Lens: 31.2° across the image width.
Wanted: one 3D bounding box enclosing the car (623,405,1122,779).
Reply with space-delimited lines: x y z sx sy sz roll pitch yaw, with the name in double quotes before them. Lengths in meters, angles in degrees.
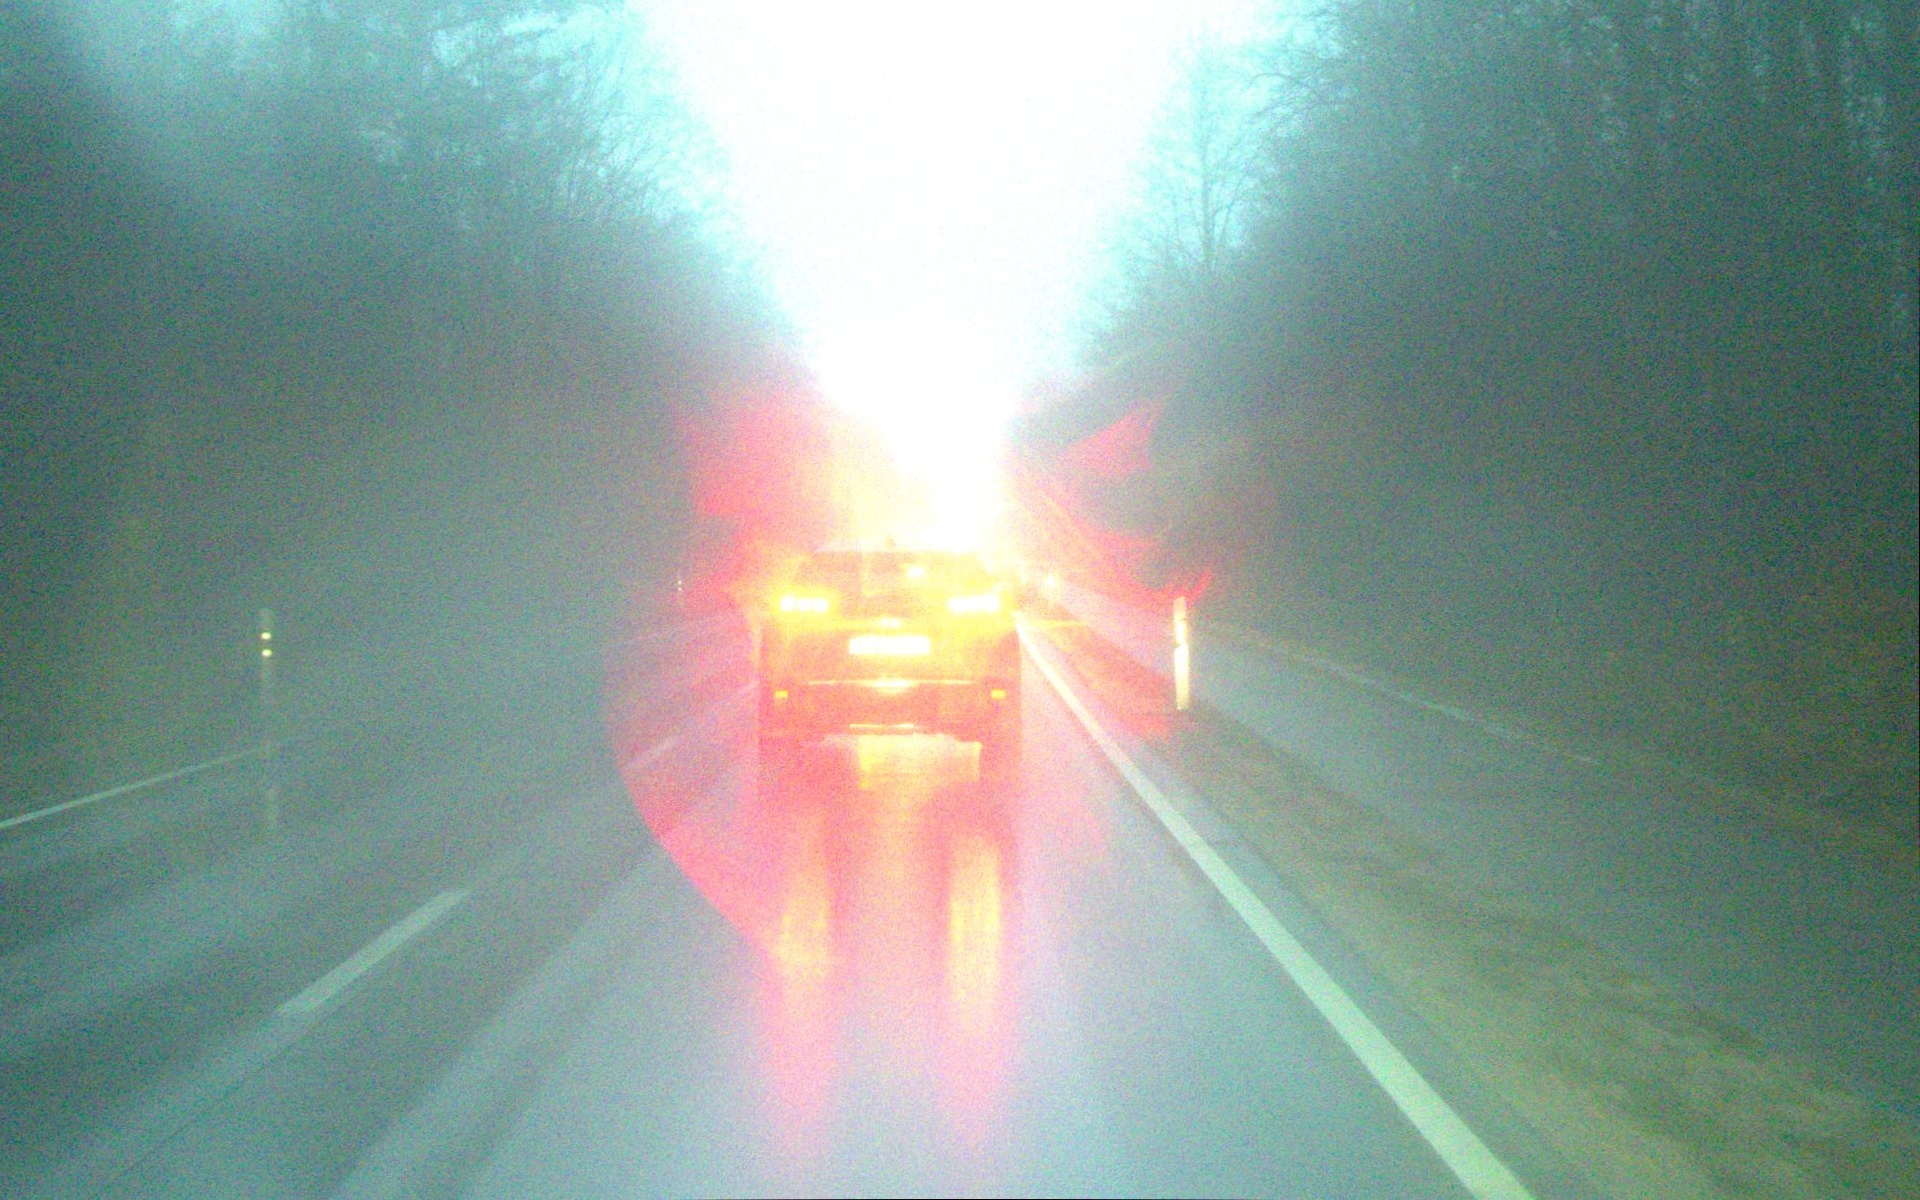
"car" -0.570 -0.106 25.405 3.183 2.378 6.636 0 1 0
